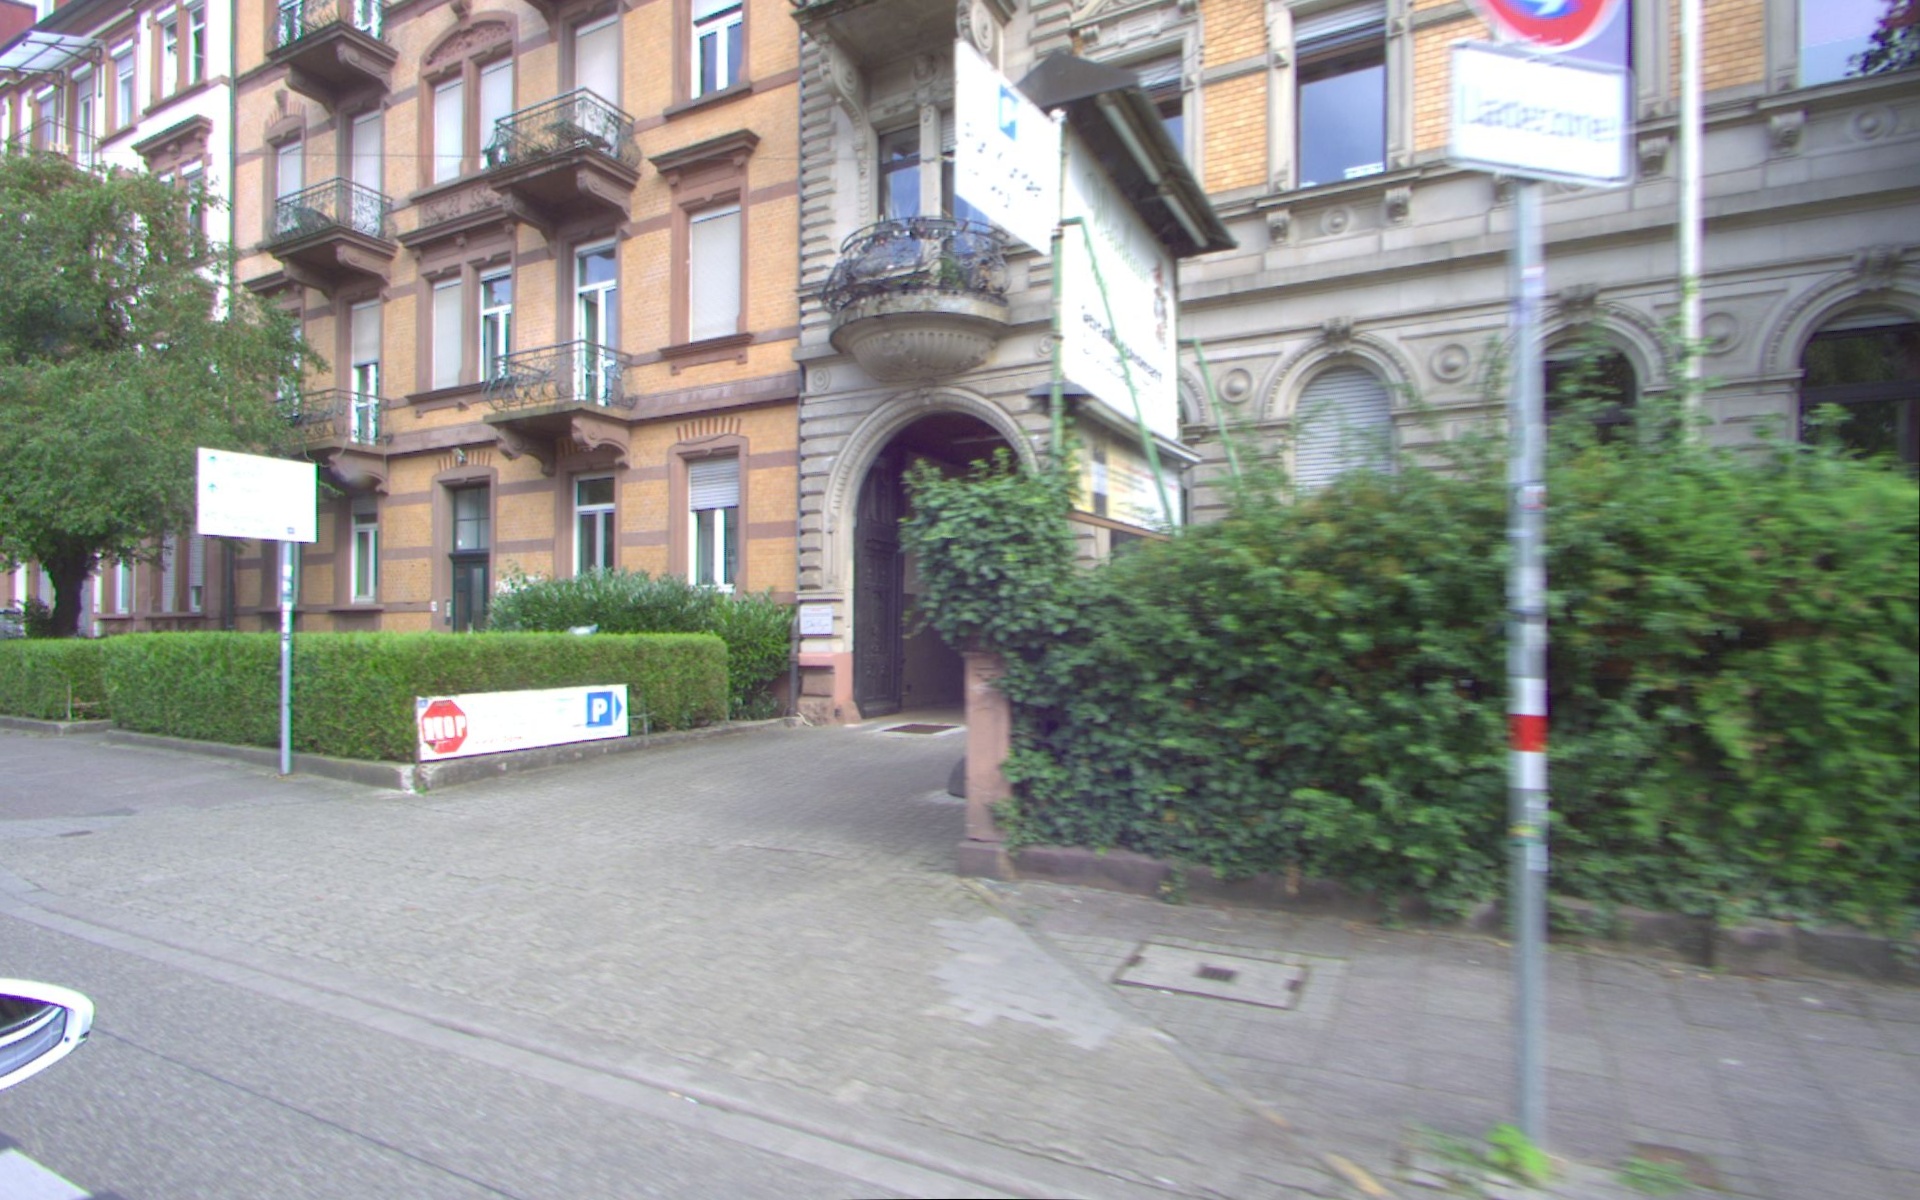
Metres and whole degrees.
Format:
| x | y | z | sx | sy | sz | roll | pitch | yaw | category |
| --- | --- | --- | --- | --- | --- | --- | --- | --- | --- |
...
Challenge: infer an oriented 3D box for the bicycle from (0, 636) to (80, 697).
| x | y | z | sx | sy | sz | roll | pitch | yaw | category |
| --- | --- | --- | --- | --- | --- | --- | --- | --- | --- |
| -16.222 | 1.133 | 17.237 | 0.502 | 1.022 | 1.545 | 0 | -1 | 27 | bicycle |

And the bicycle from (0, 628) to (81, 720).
| x | y | z | sx | sy | sz | roll | pitch | yaw | category |
| --- | --- | --- | --- | --- | --- | --- | --- | --- | --- |
| -13.522 | 1.055 | 14.679 | 1.527 | 1.298 | 0.515 | -1 | -1 | 31 | bicycle |
